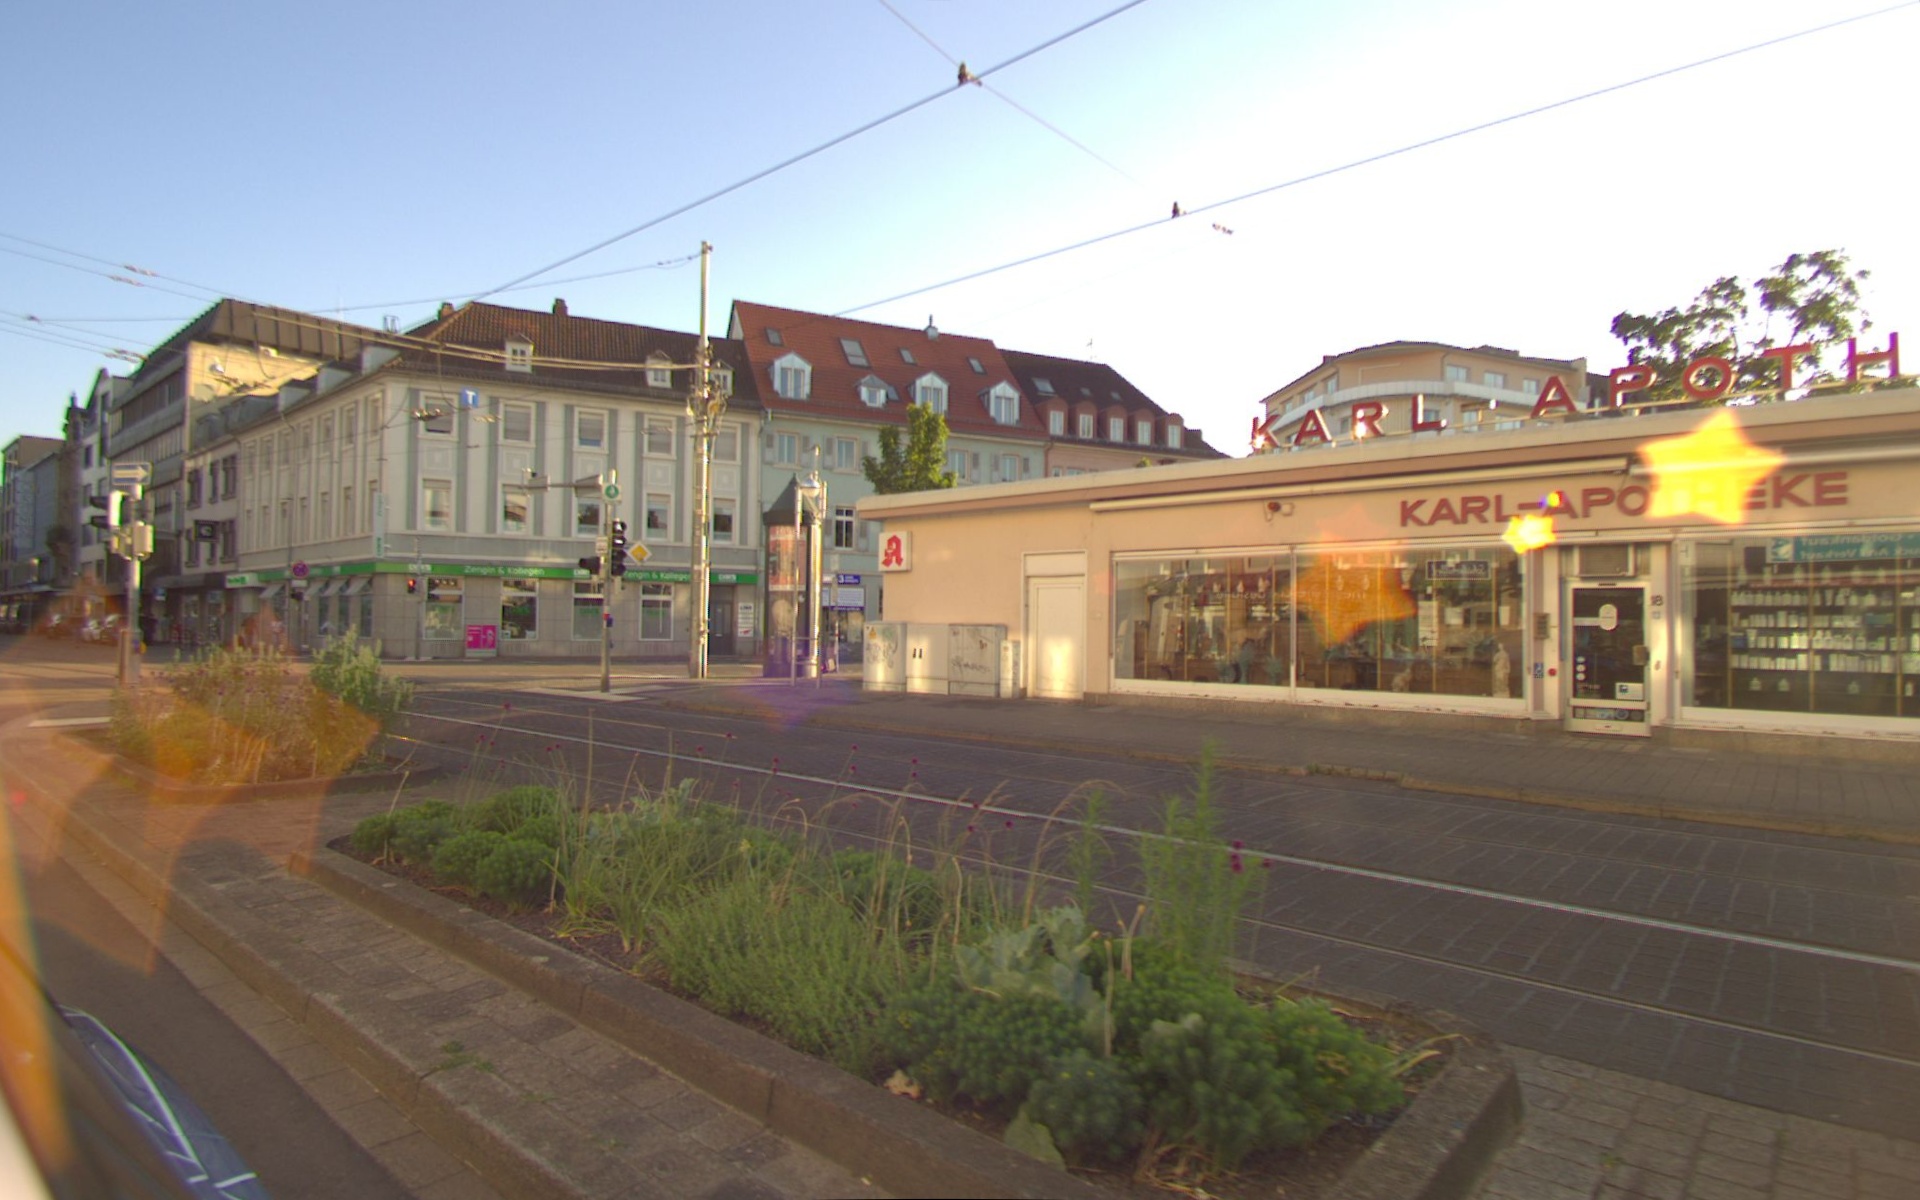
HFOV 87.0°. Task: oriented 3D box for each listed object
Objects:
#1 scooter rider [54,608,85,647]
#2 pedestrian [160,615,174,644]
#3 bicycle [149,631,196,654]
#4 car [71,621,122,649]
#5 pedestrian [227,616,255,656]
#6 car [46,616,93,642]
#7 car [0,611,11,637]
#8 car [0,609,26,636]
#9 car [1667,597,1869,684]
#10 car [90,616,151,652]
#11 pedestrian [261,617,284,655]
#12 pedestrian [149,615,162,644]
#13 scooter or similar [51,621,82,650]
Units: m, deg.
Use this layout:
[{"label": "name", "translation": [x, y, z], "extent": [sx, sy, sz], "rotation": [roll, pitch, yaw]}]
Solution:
[{"label": "scooter rider", "translation": [-42.444, 1.315, 48.235], "extent": [0.800, 1.821, 0.791], "rotation": [2, -2, -21]}, {"label": "pedestrian", "translation": [-48.056, 1.774, 61.360], "extent": [0.600, 1.747, 0.509], "rotation": [1, -1, 41]}, {"label": "bicycle", "translation": [-36.896, 2.007, 47.434], "extent": [1.715, 1.067, 0.499], "rotation": [2, -4, -41]}, {"label": "car", "translation": [-51.004, 2.045, 59.772], "extent": [3.997, 1.636, 1.679], "rotation": [-1, -2, 40]}, {"label": "pedestrian", "translation": [-31.485, 1.566, 44.323], "extent": [0.813, 1.741, 0.817], "rotation": [-1, -1, 40]}, {"label": "car", "translation": [-59.602, 1.935, 67.734], "extent": [3.998, 1.569, 1.796], "rotation": [1, -1, 41]}, {"label": "car", "translation": [-82.341, 2.045, 86.094], "extent": [3.999, 2.074, 1.972], "rotation": [1, -1, 42]}, {"label": "car", "translation": [-77.003, 1.792, 81.664], "extent": [3.999, 2.029, 1.972], "rotation": [1, -1, 41]}, {"label": "car", "translation": [21.131, 1.005, 26.587], "extent": [3.998, 2.029, 1.973], "rotation": [1, -1, 41]}, {"label": "car", "translation": [-46.304, 1.839, 55.793], "extent": [4.126, 1.809, 1.890], "rotation": [0, 0, 40]}, {"label": "pedestrian", "translation": [-30.124, 1.570, 44.356], "extent": [0.814, 1.653, 0.816], "rotation": [0, -2, -33]}, {"label": "pedestrian", "translation": [-48.453, 1.780, 60.952], "extent": [0.583, 1.697, 0.503], "rotation": [1, -1, 40]}, {"label": "scooter or similar", "translation": [-42.362, 1.695, 48.008], "extent": [0.536, 1.361, 1.674], "rotation": [1, -2, -21]}]
